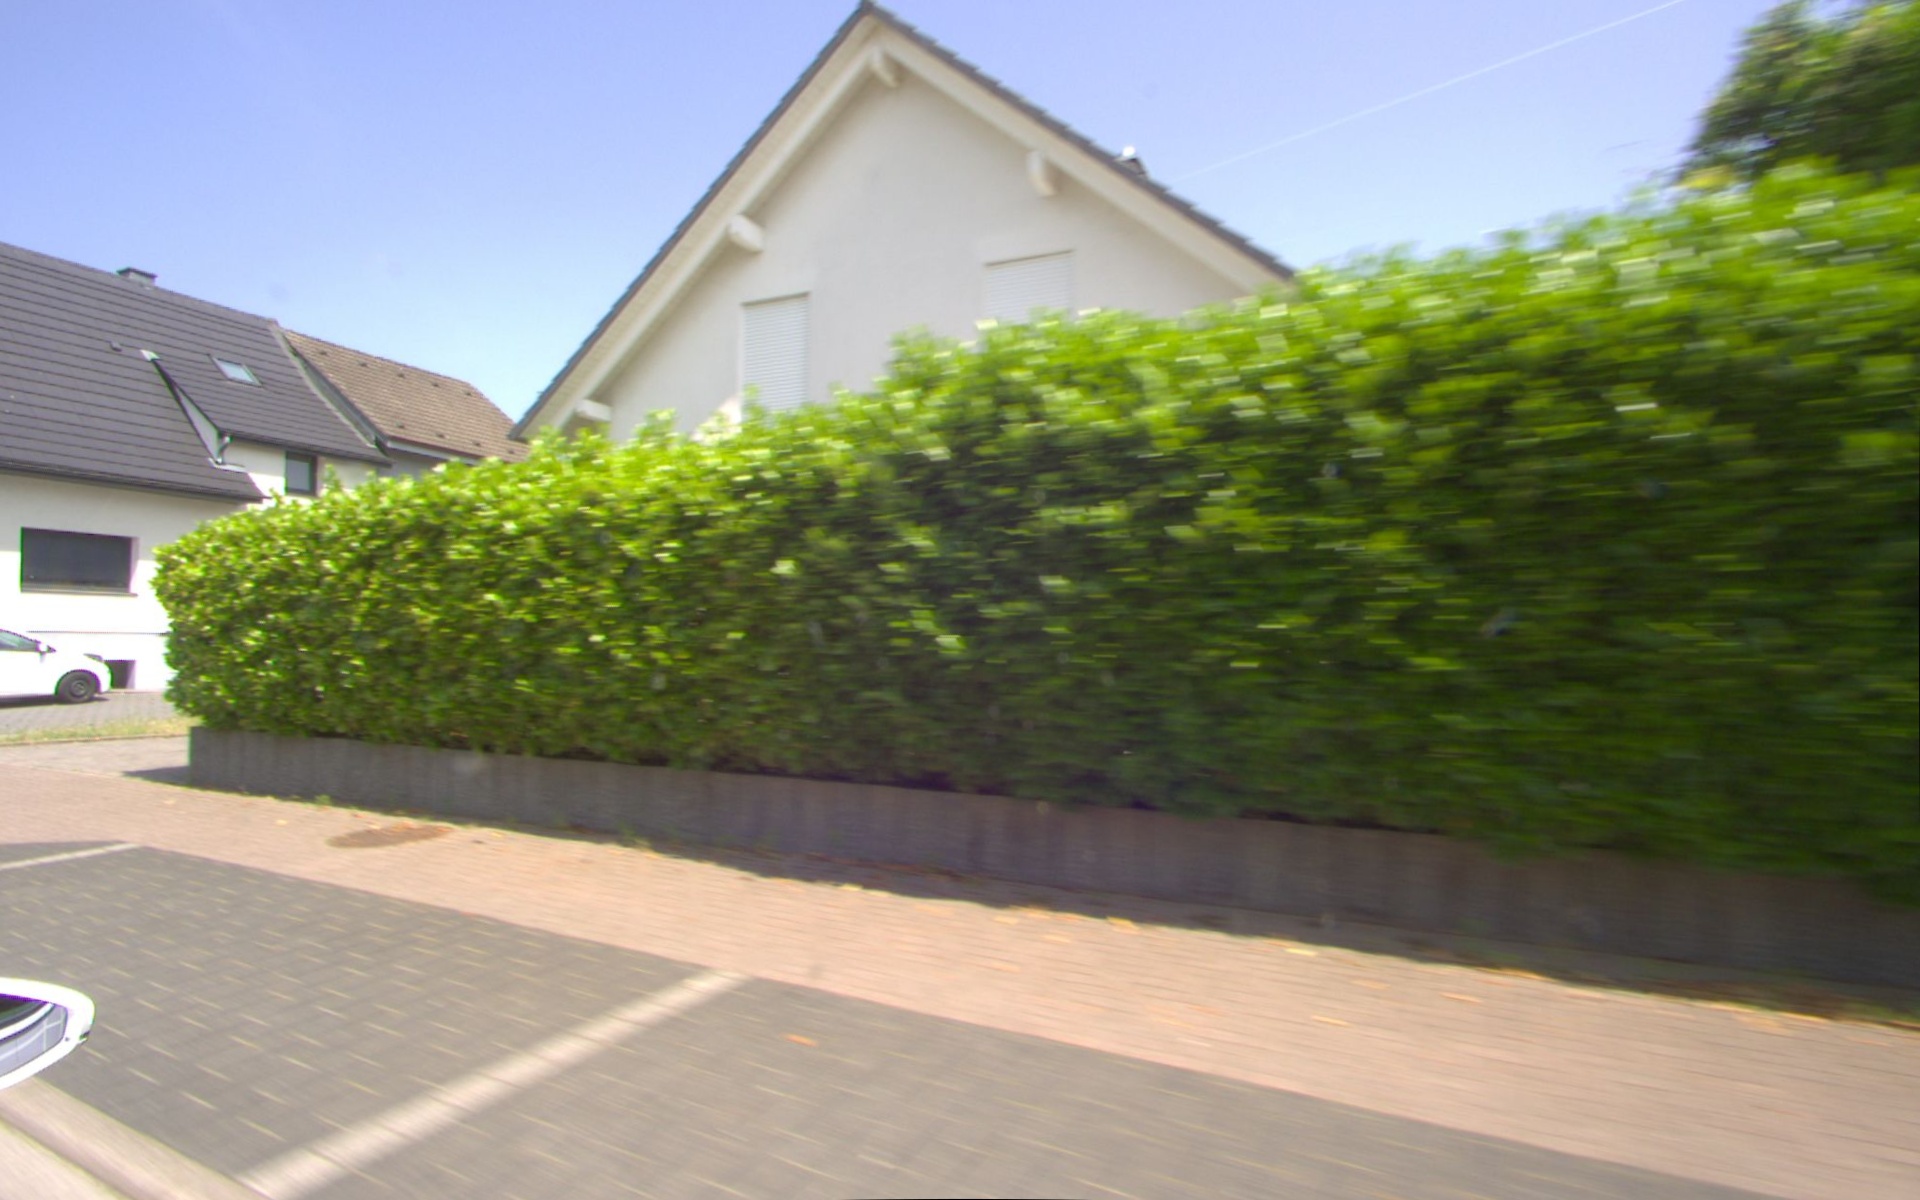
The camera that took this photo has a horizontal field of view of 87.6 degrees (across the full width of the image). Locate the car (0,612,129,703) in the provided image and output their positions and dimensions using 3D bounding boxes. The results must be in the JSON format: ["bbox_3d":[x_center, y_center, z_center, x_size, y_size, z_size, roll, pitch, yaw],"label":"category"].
[{"bbox_3d":[-16.828,0.969,17.127,1.735,1.494,3.660,1,0,22],"label":"car"}]
